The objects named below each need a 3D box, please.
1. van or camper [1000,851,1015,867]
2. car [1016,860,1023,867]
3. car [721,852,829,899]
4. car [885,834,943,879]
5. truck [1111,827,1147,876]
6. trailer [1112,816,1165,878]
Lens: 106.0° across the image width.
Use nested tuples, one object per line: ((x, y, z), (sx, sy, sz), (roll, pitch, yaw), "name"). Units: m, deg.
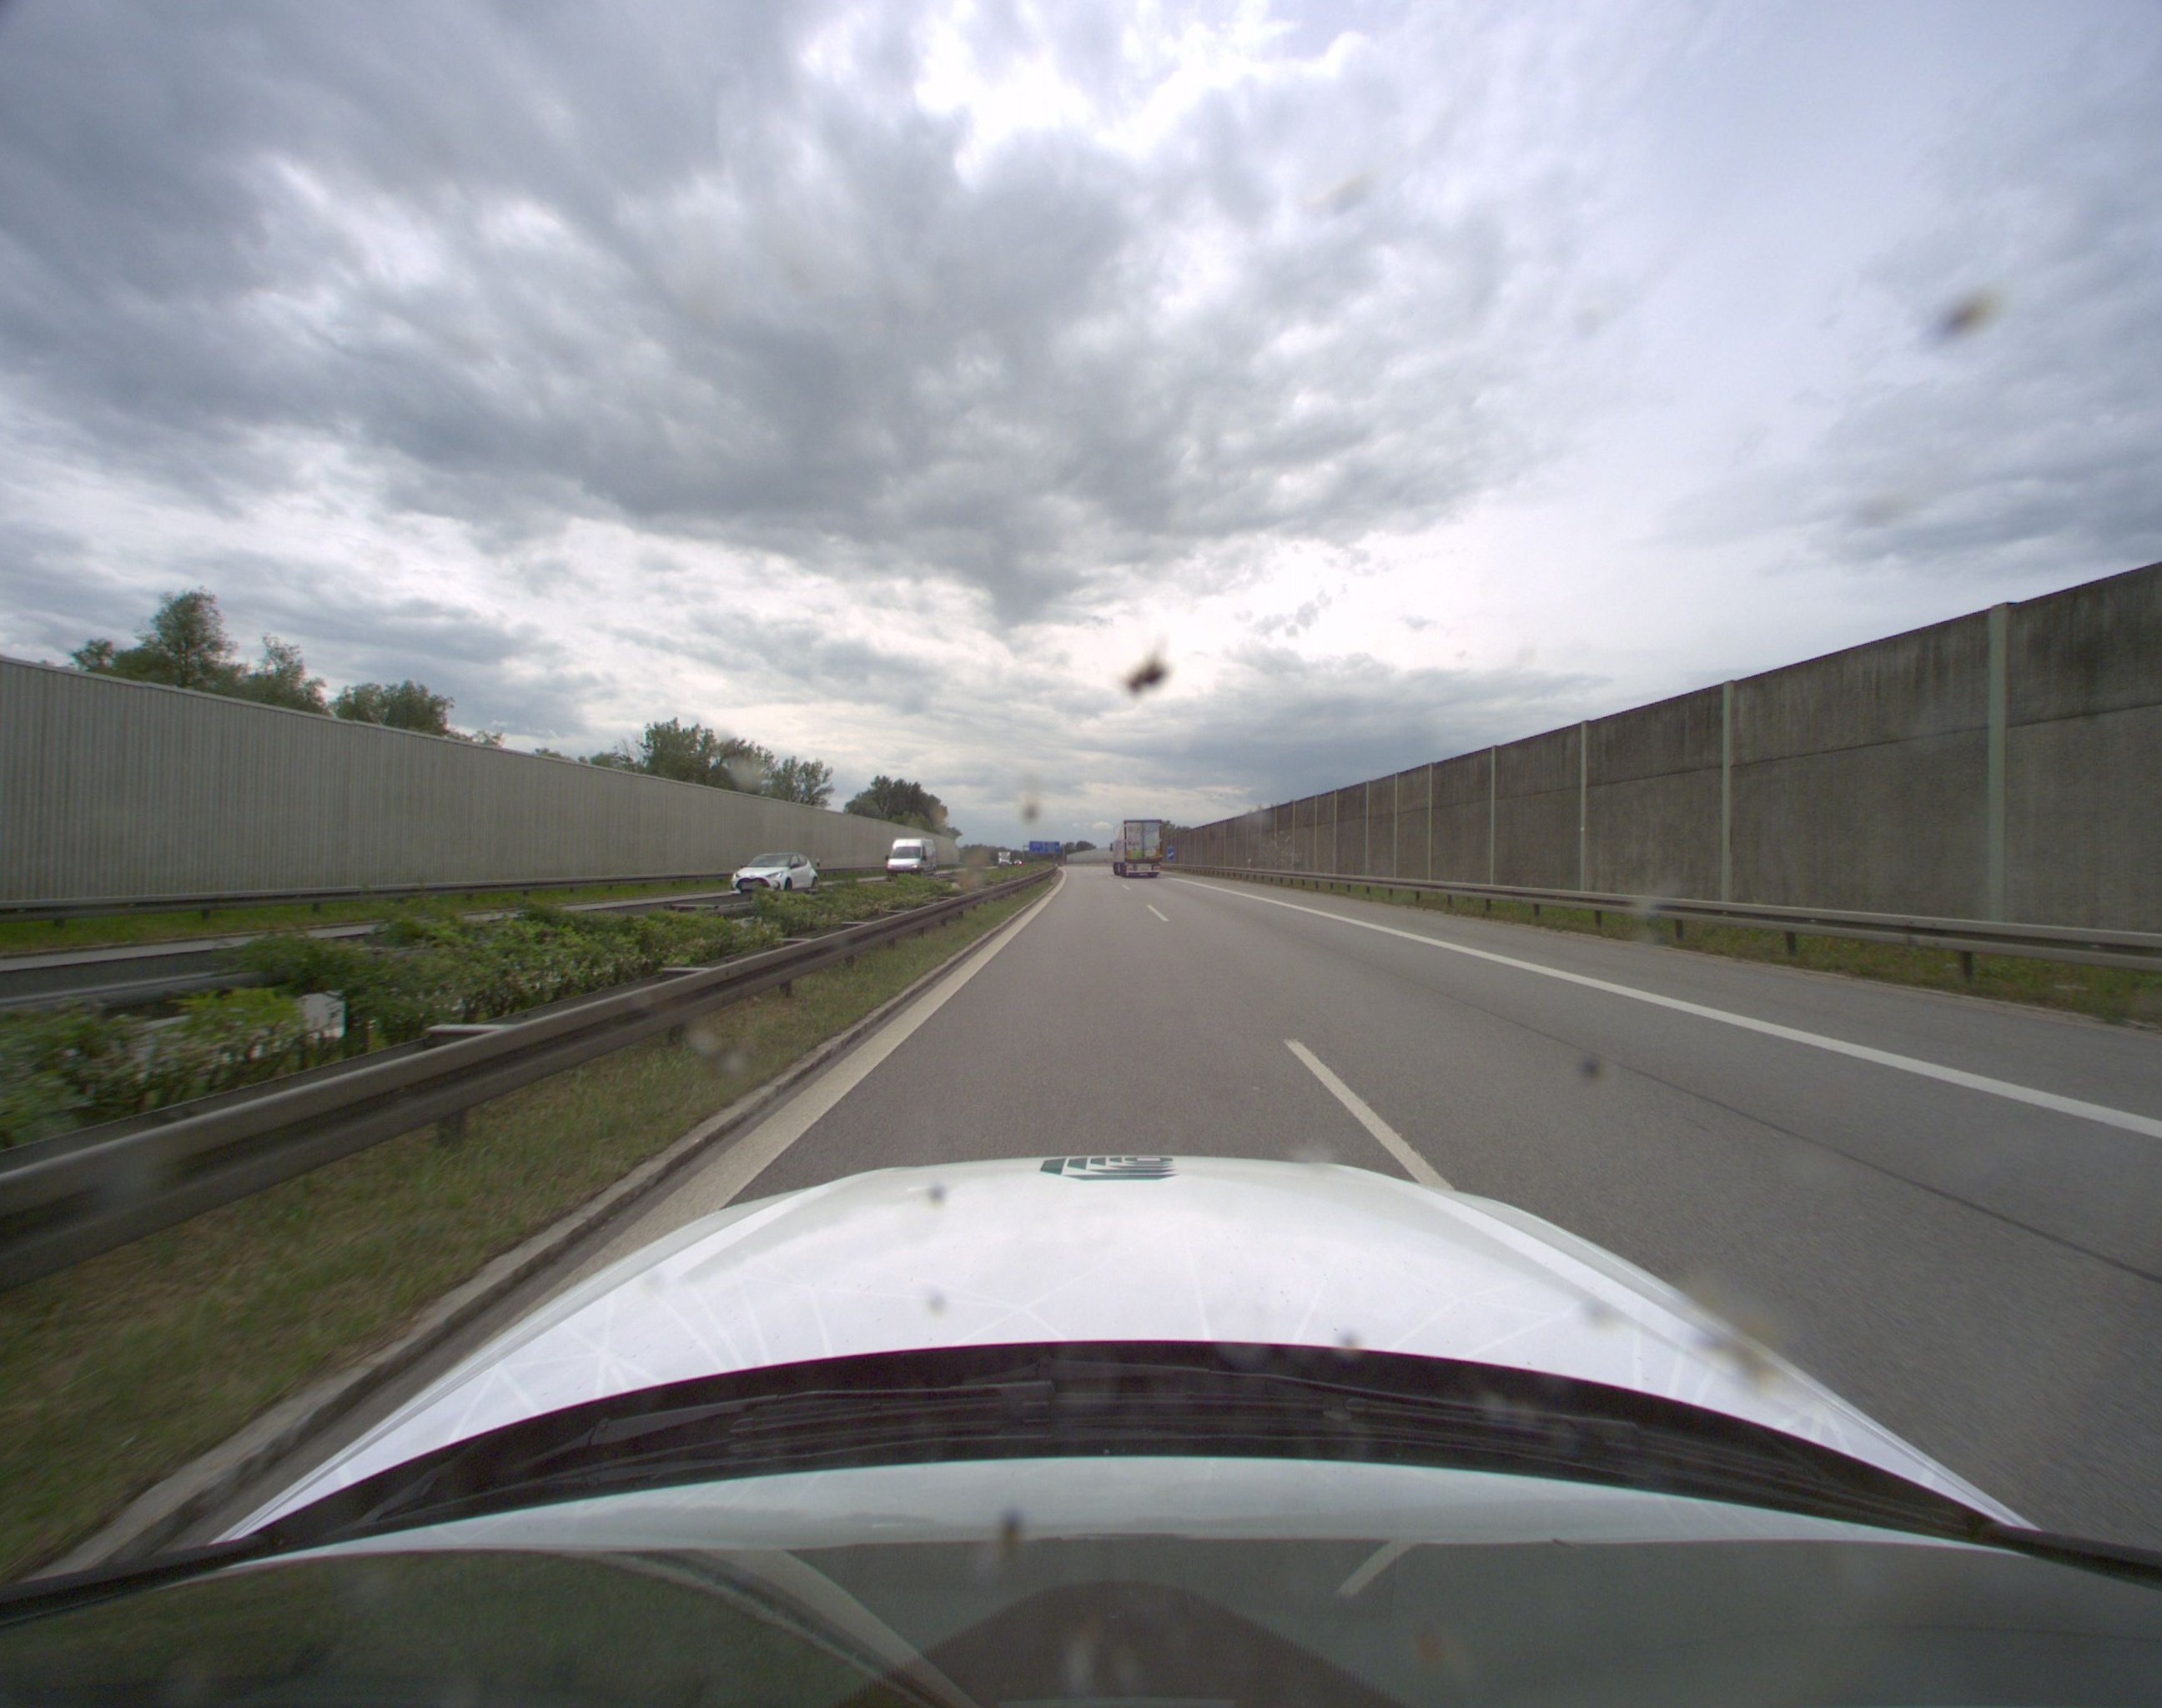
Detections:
((-13.270, 0.900, 147.076), (2.248, 2.779, 5.750), (0, 0, -2), "van or camper")
((-18.678, 2.810, 245.687), (1.989, 1.886, 4.549), (-1, 0, -3), "car")
((-10.179, 0.674, 27.475), (1.858, 1.403, 4.500), (-1, 0, 1), "car")
((-9.710, 0.136, 47.780), (2.104, 2.455, 5.684), (-1, 0, 1), "car")
((4.019, -0.144, 69.210), (2.746, 3.960, 5.678), (-1, -1, 1), "truck")
((4.176, -0.398, 62.280), (2.784, 4.175, 14.095), (-1, -1, -1), "trailer")
